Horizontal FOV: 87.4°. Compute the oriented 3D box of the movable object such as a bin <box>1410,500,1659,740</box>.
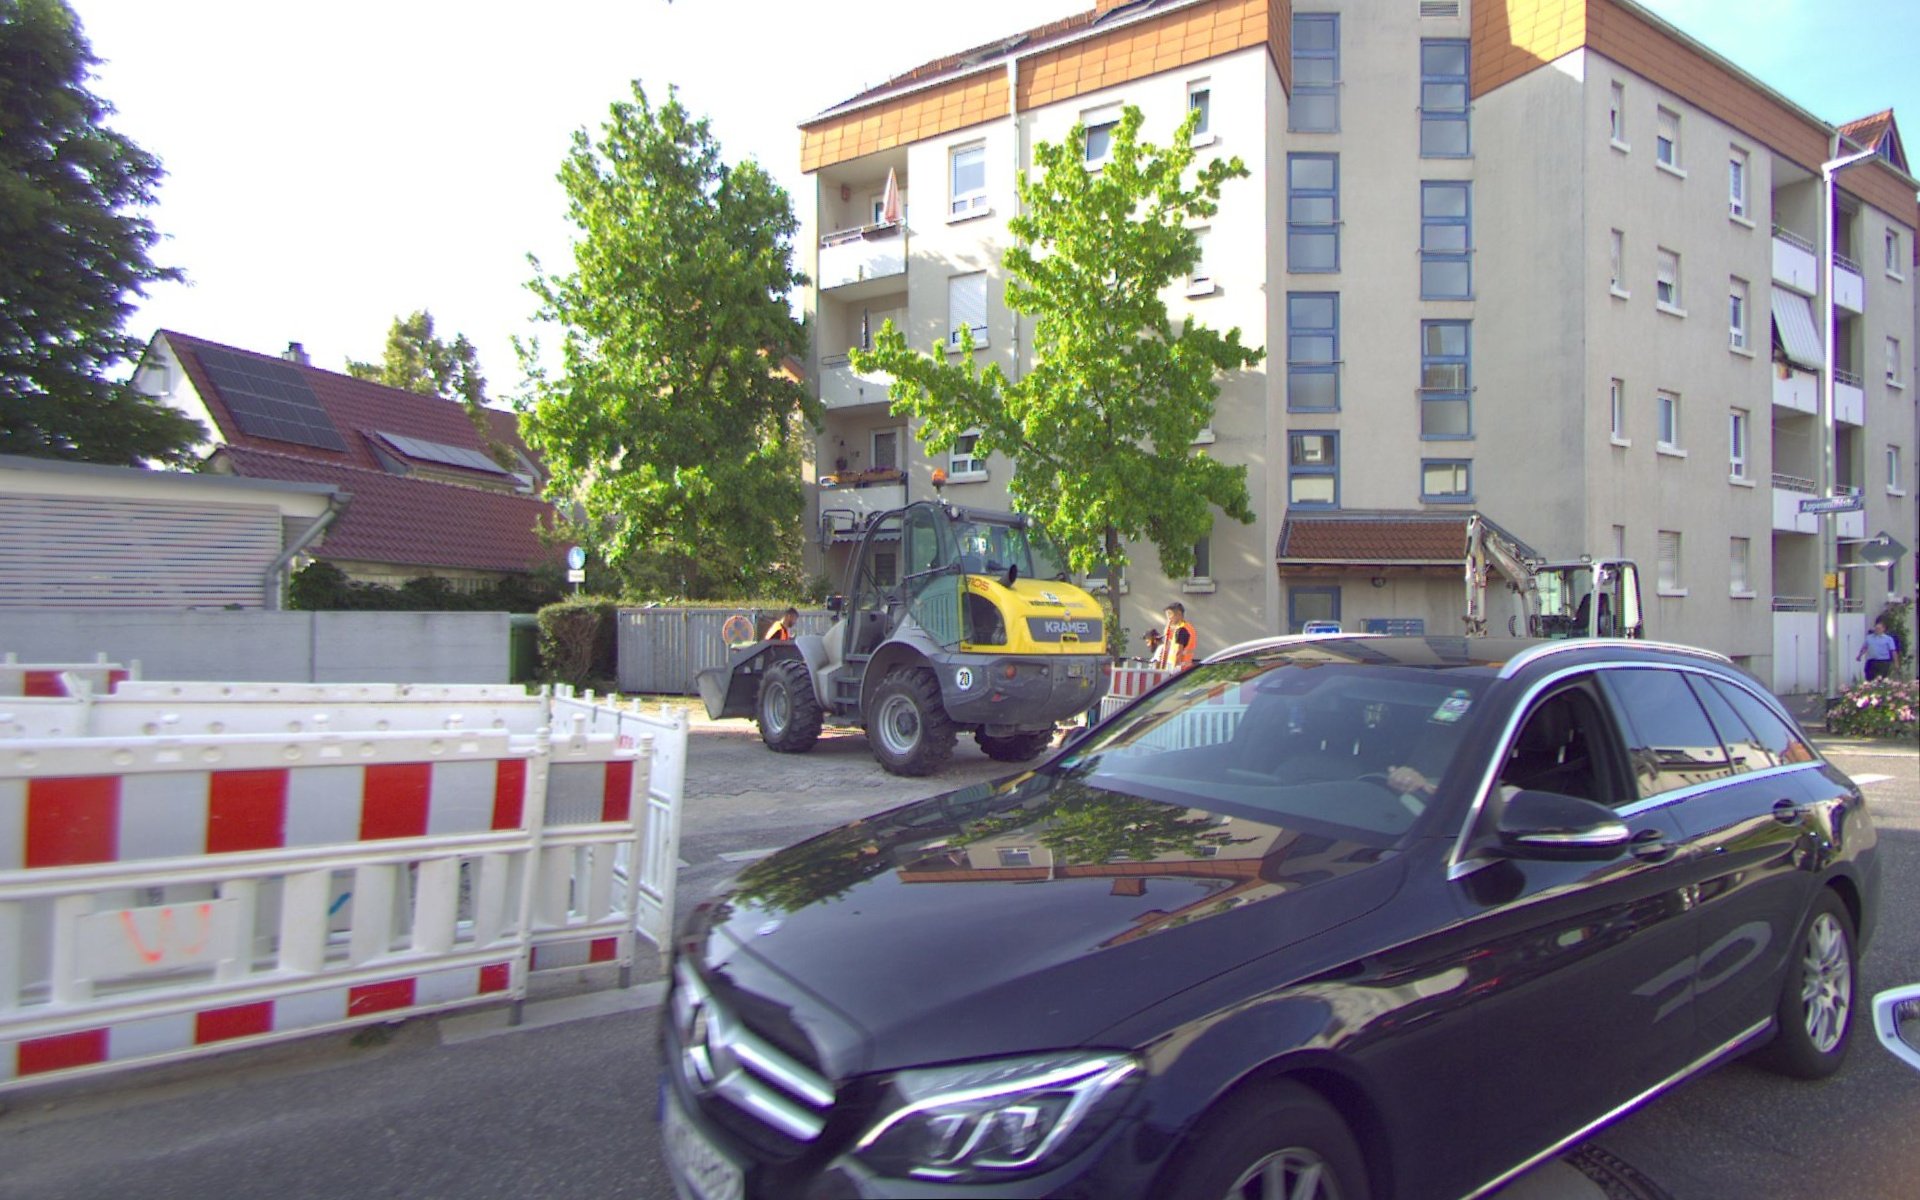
[{"bbox_3d":[8.644,0.296,15.037,3.857,3.180,1.638,0,-1,-33],"label":"movable object such as a bin"}]

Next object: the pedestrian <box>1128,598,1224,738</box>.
[{"bbox_3d":[2.729,0.833,12.684,0.982,1.686,0.665,1,0,-31],"label":"pedestrian"}]

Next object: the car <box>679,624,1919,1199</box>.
[{"bbox_3d":[1.388,0.810,3.362,4.162,1.439,1.820,1,-1,-32],"label":"car"}]

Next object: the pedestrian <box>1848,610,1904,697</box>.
[{"bbox_3d":[19.938,1.145,21.861,0.736,1.843,0.715,0,0,-30],"label":"pedestrian"}]

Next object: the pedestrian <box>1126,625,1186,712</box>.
[{"bbox_3d":[2.600,0.900,13.345,0.590,1.114,0.497,1,0,-30],"label":"pedestrian"}]

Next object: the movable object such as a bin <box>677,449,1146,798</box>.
[{"bbox_3d":[-0.812,0.187,11.157,5.441,2.939,2.098,1,0,45],"label":"movable object such as a bin"}]

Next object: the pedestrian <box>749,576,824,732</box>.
[{"bbox_3d":[-2.367,0.717,13.676,0.879,2.045,0.764,1,0,-19],"label":"pedestrian"}]

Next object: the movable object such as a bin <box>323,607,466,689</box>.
[{"bbox_3d":[-11.003,0.906,19.656,1.387,1.438,2.001,2,0,16],"label":"movable object such as a bin"}]

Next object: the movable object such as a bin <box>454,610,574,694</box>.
[{"bbox_3d":[-8.456,0.962,19.126,1.294,1.466,1.626,2,0,16],"label":"movable object such as a bin"}]
